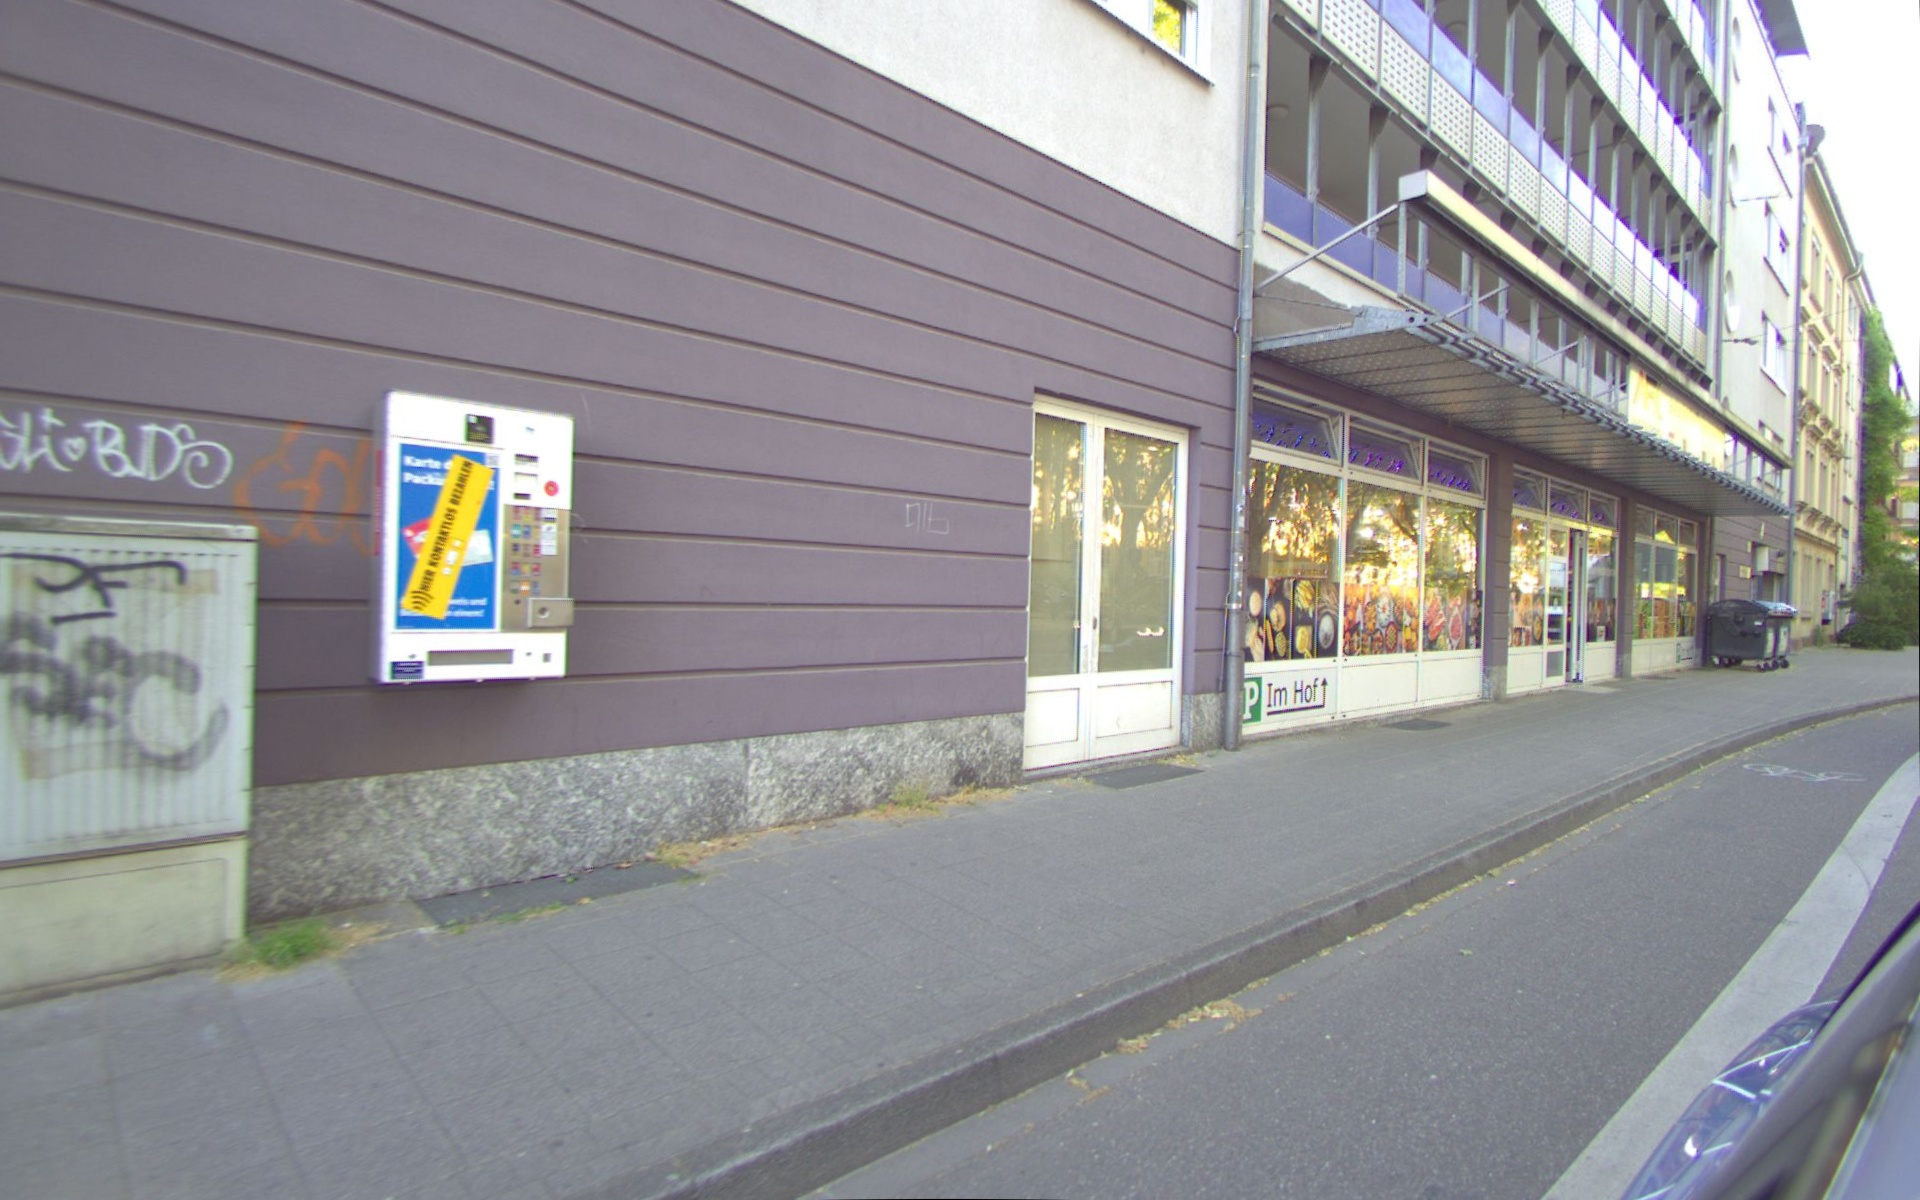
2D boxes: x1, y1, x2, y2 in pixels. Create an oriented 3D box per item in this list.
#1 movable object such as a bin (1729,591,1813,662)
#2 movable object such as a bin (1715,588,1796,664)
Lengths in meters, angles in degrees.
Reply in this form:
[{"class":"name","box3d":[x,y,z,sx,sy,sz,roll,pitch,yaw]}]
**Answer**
[{"class":"movable object such as a bin","box3d":[17.590,0.547,21.945,1.282,1.464,1.123,1,1,-38]},{"class":"movable object such as a bin","box3d":[16.240,0.512,20.660,1.274,1.465,1.068,1,1,-42]}]
